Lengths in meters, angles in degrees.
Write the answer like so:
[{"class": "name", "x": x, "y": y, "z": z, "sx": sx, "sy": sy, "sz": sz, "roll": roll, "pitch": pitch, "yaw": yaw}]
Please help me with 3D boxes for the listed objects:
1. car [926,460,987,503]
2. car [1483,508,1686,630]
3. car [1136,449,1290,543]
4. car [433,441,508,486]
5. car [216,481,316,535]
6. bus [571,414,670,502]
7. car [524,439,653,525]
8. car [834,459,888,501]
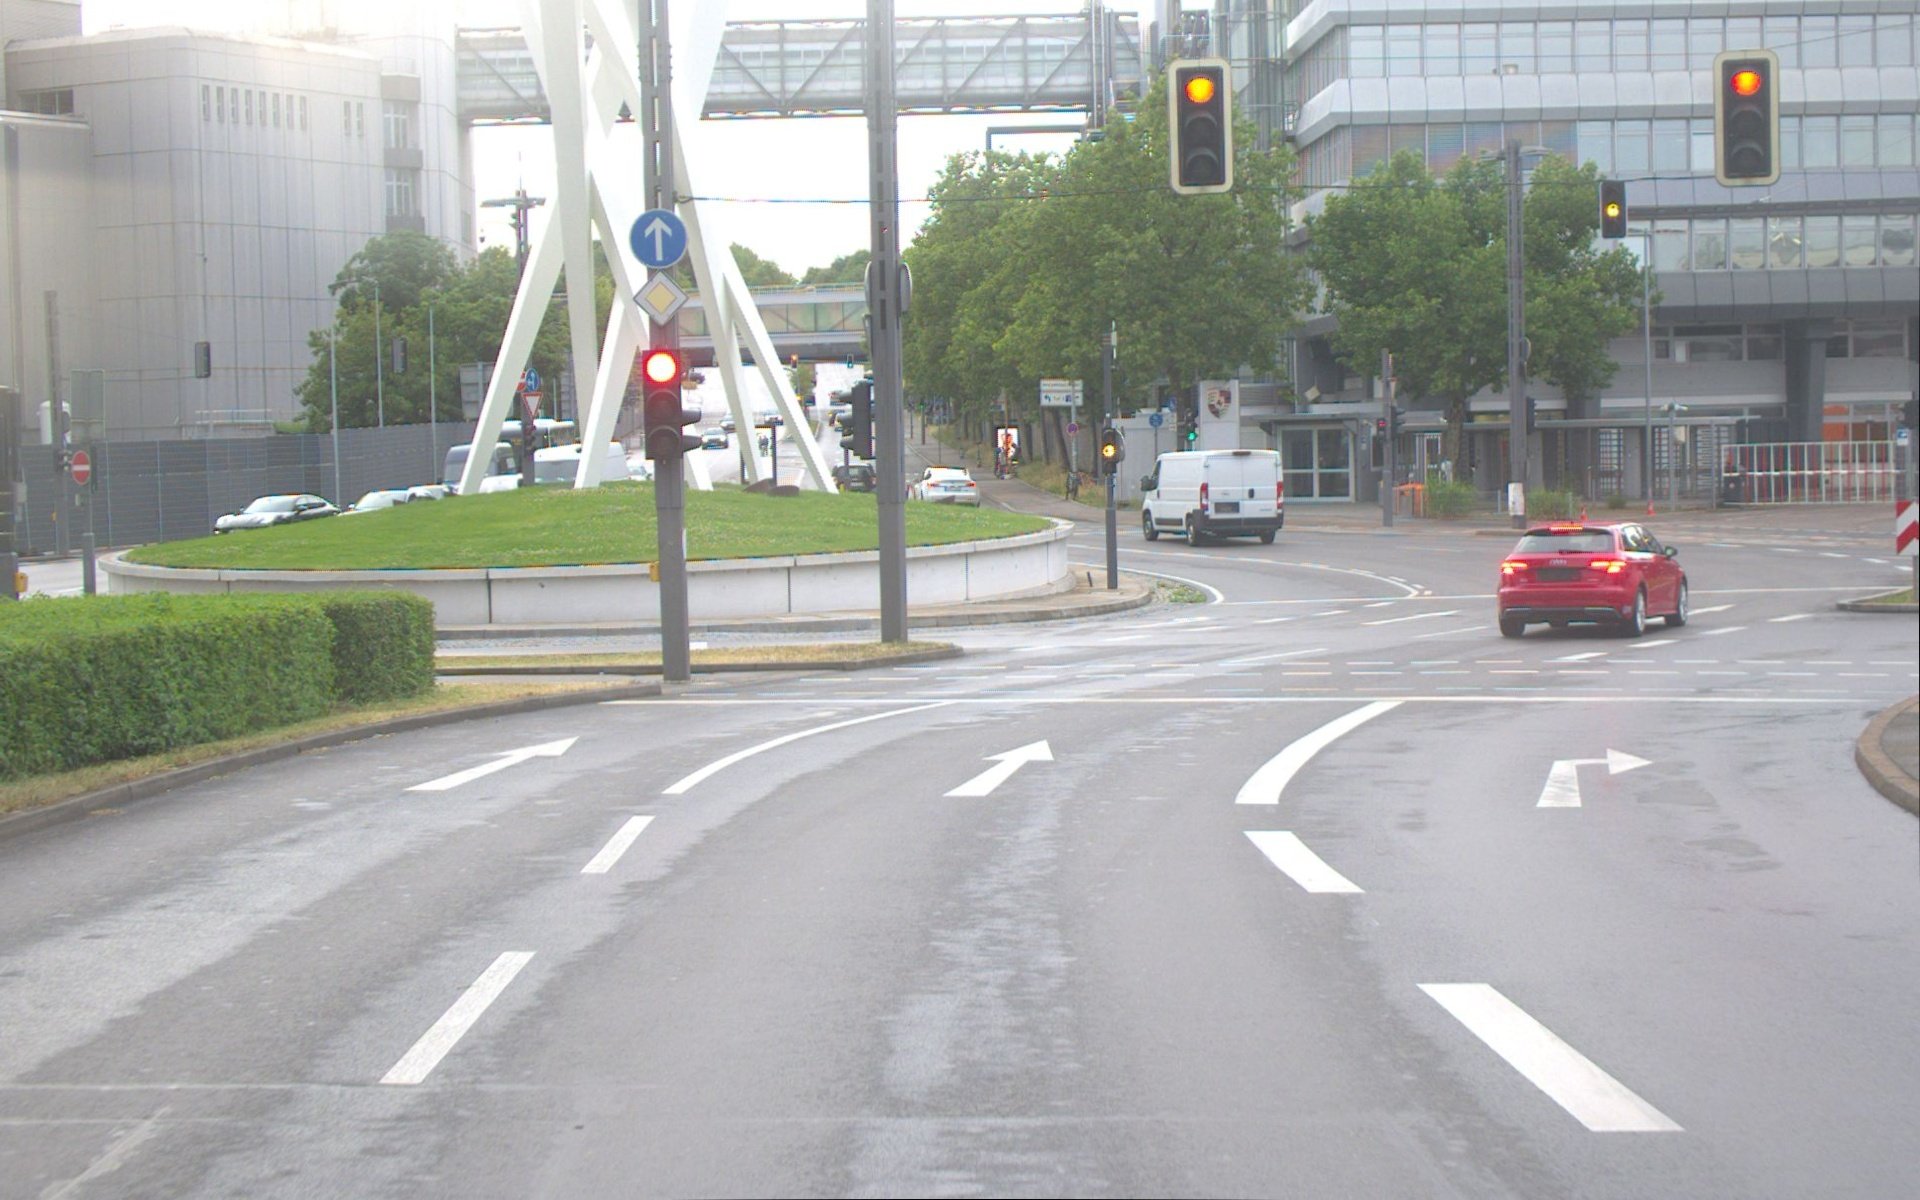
[{"class": "car", "x": -0.142, "y": -3.847, "z": 111.671, "sx": 1.667, "sy": 1.296, "sz": 3.886, "roll": -1, "pitch": 1, "yaw": -4}, {"class": "car", "x": 7.912, "y": -0.400, "z": 43.320, "sx": 1.774, "sy": 1.459, "sz": 3.728, "roll": 0, "pitch": 1, "yaw": 22}, {"class": "car", "x": 5.968, "y": -2.444, "z": 81.757, "sx": 2.232, "sy": 2.100, "sz": 4.956, "roll": -1, "pitch": 0, "yaw": -14}, {"class": "car", "x": -16.852, "y": -4.694, "z": 118.570, "sx": 1.833, "sy": 1.467, "sz": 4.514, "roll": -1, "pitch": 2, "yaw": 1}, {"class": "car", "x": -19.582, "y": -2.602, "z": 97.167, "sx": 1.833, "sy": 1.467, "sz": 4.514, "roll": -1, "pitch": 2, "yaw": 1}, {"class": "bus", "x": -12.943, "y": -5.375, "z": 131.837, "sx": 2.669, "sy": 3.190, "sz": 12.671, "roll": 0, "pitch": 2, "yaw": -1}, {"class": "car", "x": -10.900, "y": -3.475, "z": 101.289, "sx": 1.995, "sy": 2.438, "sz": 5.423, "roll": -1, "pitch": 2, "yaw": 14}, {"class": "car", "x": -3.275, "y": -3.957, "z": 113.249, "sx": 1.557, "sy": 1.284, "sz": 3.414, "roll": -1, "pitch": 1, "yaw": -6}]
